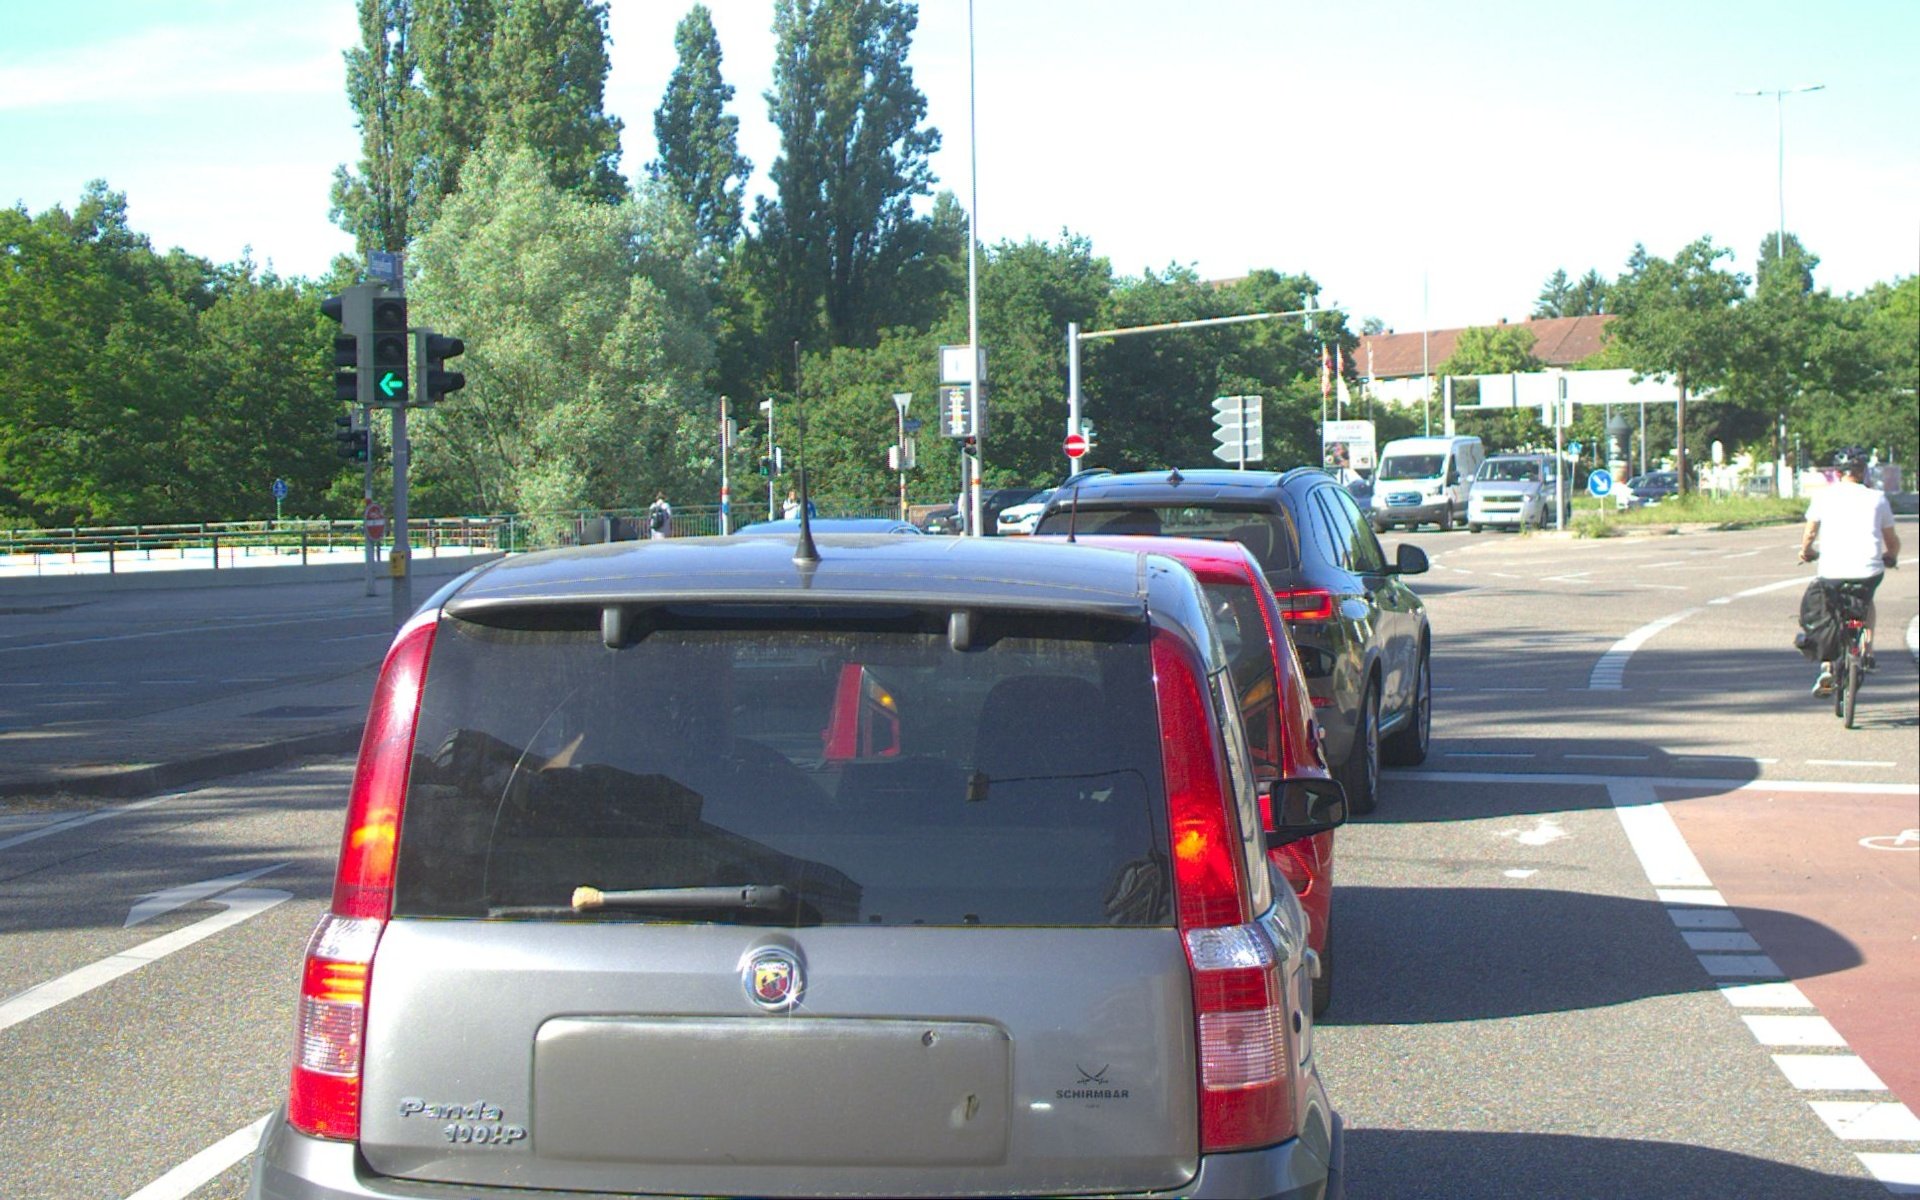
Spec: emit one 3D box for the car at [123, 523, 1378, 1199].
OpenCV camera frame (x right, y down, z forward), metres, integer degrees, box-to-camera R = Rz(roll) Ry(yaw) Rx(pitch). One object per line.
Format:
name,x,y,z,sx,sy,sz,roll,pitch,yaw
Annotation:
car,-0.116,0.651,6.345,1.618,1.510,3.819,-1,2,5

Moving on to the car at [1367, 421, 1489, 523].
car,12.400,-3.384,90.726,1.938,2.567,6.083,0,2,20

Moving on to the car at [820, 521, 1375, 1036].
car,0.557,0.491,12.010,1.618,1.458,3.750,-1,2,5

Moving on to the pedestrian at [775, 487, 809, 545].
pedestrian,-4.586,-2.299,93.760,0.709,1.542,0.729,-2,0,-16

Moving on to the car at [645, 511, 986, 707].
car,-1.073,0.010,27.774,1.781,1.410,4.317,0,2,11

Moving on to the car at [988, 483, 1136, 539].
car,3.038,-2.657,101.934,4.317,1.530,1.784,-3,4,-41

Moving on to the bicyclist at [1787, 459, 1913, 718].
bicyclist,5.835,-0.098,22.593,0.724,1.654,1.112,1,2,12

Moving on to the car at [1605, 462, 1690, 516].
car,21.651,-3.510,108.145,1.938,1.616,4.502,0,2,20

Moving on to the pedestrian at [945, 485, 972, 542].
pedestrian,-0.037,-2.384,94.408,0.556,1.542,0.576,-2,1,-16

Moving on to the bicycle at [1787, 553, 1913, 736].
bicycle,5.830,0.267,22.586,0.691,1.098,1.825,1,2,12

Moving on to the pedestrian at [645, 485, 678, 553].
pedestrian,-6.496,-1.767,74.818,0.679,1.458,0.703,-1,2,-7

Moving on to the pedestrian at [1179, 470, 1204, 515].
pedestrian,8.540,-3.950,126.678,0.721,1.635,0.671,1,0,25

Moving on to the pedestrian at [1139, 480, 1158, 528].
pedestrian,6.737,-3.429,122.994,0.499,1.696,0.499,1,0,24

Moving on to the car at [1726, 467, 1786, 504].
car,40.859,-5.854,176.419,1.997,1.809,3.994,1,1,29

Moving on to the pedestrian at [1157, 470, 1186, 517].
pedestrian,7.513,-3.775,122.408,0.791,1.658,0.628,1,0,40

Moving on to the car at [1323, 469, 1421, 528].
car,11.817,-2.911,98.325,1.812,1.536,4.613,-2,2,19

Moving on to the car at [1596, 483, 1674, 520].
car,28.054,-4.067,142.829,1.997,1.443,3.993,1,1,30

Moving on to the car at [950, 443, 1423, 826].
car,1.358,0.096,18.668,1.946,1.833,4.151,-1,2,12

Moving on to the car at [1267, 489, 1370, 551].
car,9.582,-2.157,91.734,1.938,1.502,3.997,-2,2,17

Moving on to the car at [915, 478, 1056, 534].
car,0.797,-2.850,104.920,3.988,1.619,1.900,0,1,-38

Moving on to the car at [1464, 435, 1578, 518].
car,14.198,-3.121,86.741,1.938,2.001,4.927,0,2,20
